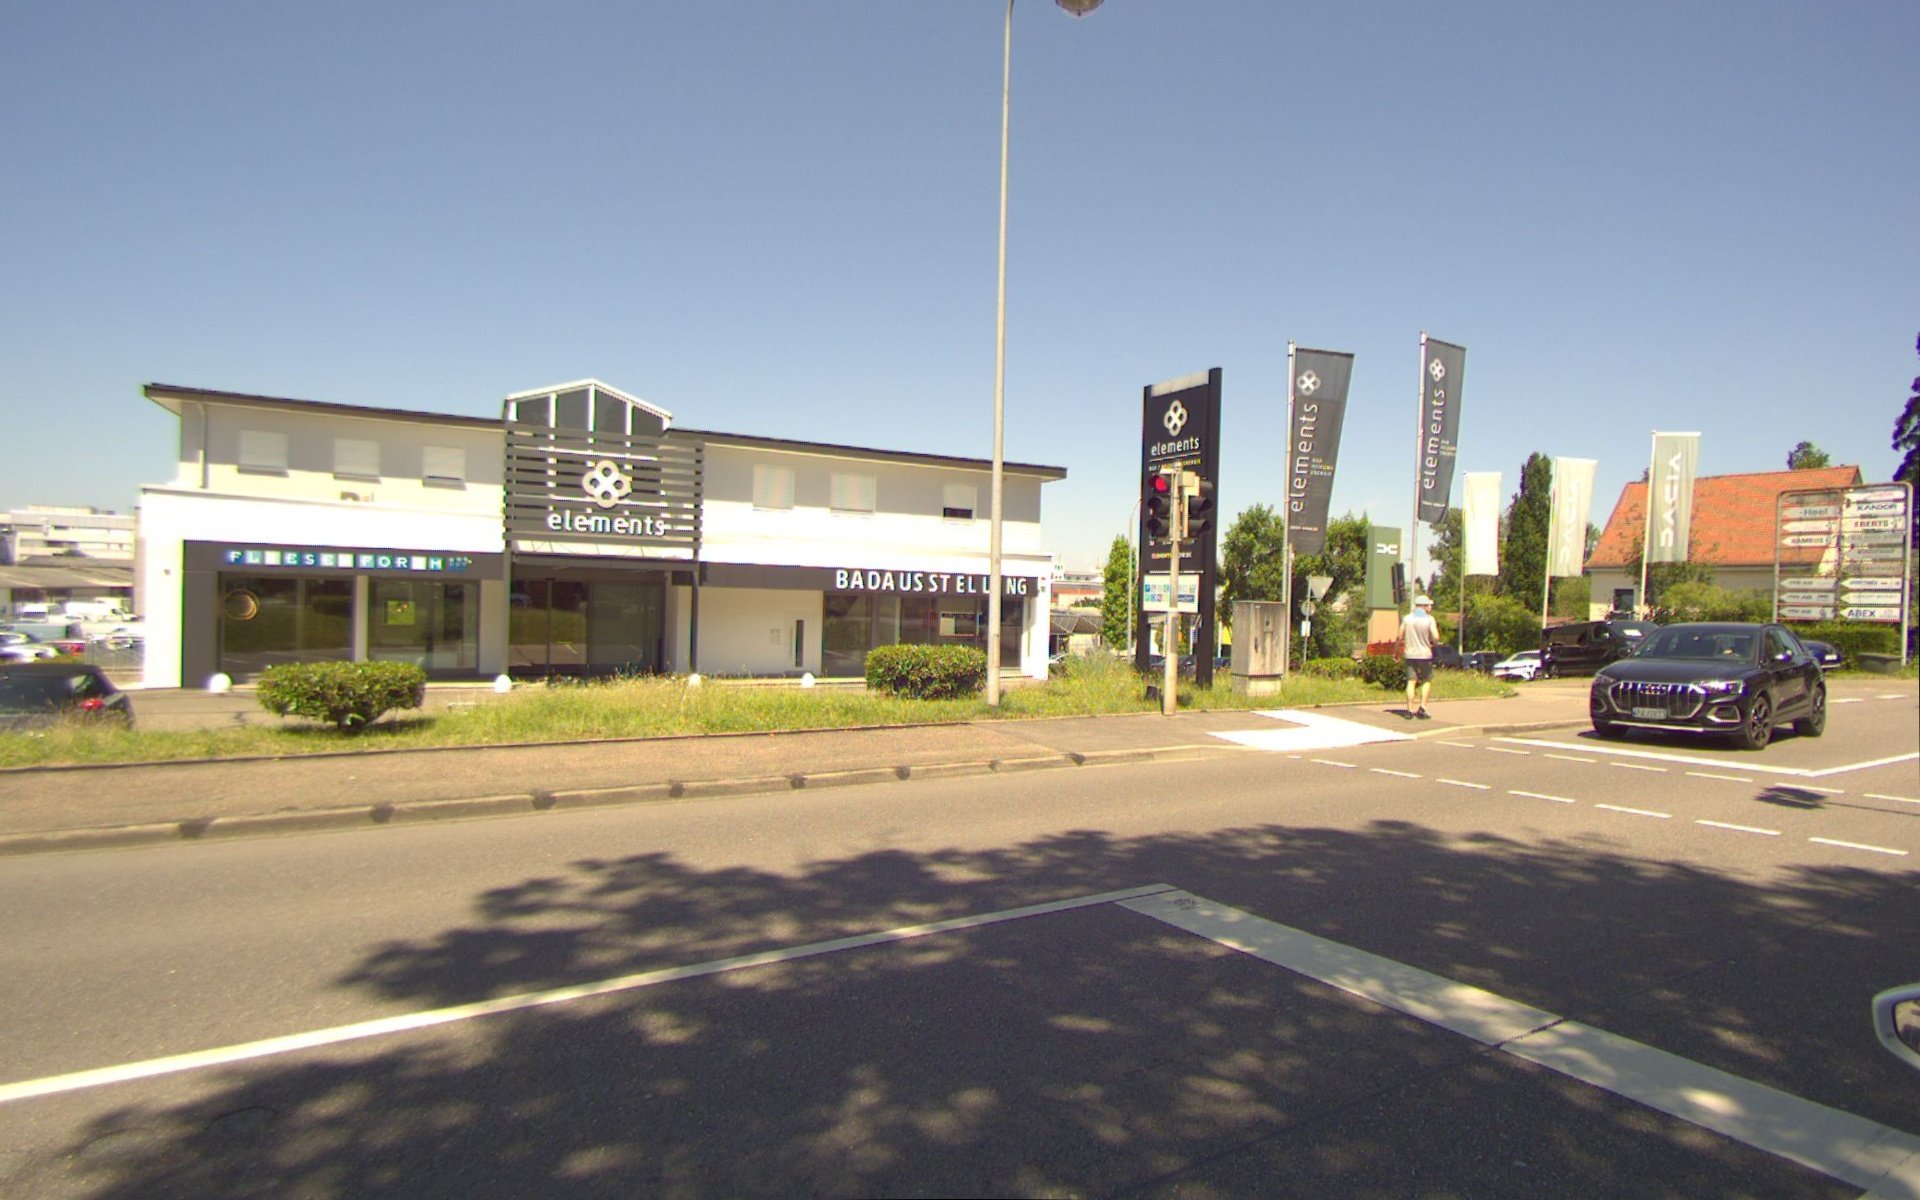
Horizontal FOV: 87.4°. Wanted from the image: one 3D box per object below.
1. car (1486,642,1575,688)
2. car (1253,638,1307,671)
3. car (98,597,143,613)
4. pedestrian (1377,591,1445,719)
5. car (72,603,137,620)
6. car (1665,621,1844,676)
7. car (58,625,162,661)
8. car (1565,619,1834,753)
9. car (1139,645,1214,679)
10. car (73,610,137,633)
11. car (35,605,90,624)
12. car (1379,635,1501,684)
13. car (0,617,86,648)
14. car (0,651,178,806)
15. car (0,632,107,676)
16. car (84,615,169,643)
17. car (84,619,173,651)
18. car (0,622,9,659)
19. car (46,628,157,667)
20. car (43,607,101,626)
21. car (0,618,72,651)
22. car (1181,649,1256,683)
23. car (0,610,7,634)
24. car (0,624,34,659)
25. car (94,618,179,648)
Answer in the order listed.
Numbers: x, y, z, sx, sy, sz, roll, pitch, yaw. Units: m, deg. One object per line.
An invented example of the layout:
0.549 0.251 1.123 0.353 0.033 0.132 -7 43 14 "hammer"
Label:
23.960 2.683 42.139 4.053 1.744 1.795 2 0 -38 "car"
18.759 3.179 58.817 1.785 1.744 4.075 1 0 36 "car"
-99.903 0.640 119.548 3.726 1.778 1.719 2 -1 -28 "car"
6.458 0.777 14.392 0.689 1.785 0.545 1 0 -4 "pedestrian"
-95.736 1.334 112.484 5.236 1.778 2.051 2 -1 -28 "car"
24.877 1.484 31.620 1.751 1.524 4.129 1 -1 -20 "car"
-43.675 2.222 51.709 3.726 1.778 1.719 2 -1 -28 "car"
10.449 1.100 14.095 4.263 1.576 1.912 2 -1 -37 "car"
10.841 3.073 50.236 3.973 1.506 1.735 2 -1 -44 "car"
-71.042 1.762 83.504 3.726 1.778 1.719 2 0 -28 "car"
-88.200 1.398 98.761 3.726 1.778 1.719 1 0 -28 "car"
18.472 2.278 38.701 4.022 1.744 1.808 2 0 -16 "car"
-54.799 1.926 59.895 3.726 1.778 1.719 2 -1 -28 "car"
-11.747 1.511 12.867 1.746 1.553 4.076 1 -1 -24 "car"
-39.514 2.309 43.403 3.726 1.778 1.719 2 -1 -28 "car"
-55.255 1.941 66.677 4.004 1.778 1.719 2 -1 -28 "car"
-49.377 2.089 59.729 3.726 1.778 1.719 2 -1 -28 "car"
-49.208 1.980 48.964 3.726 1.778 1.719 2 -1 -28 "car"
-41.201 2.263 48.309 3.726 1.778 1.719 2 -1 -28 "car"
-83.239 1.536 94.222 3.724 1.778 1.720 0 0 -27 "car"
-53.275 1.954 57.190 3.726 1.778 1.719 2 -1 -28 "car"
12.286 3.094 47.648 3.839 1.434 1.632 2 -1 -42 "car"
-74.813 1.616 75.828 3.726 1.778 1.719 2 0 -28 "car"
-51.432 2.173 52.786 3.726 1.778 1.719 2 -1 -28 "car"
-50.700 2.061 61.934 3.726 1.778 1.719 2 -1 -28 "car"
